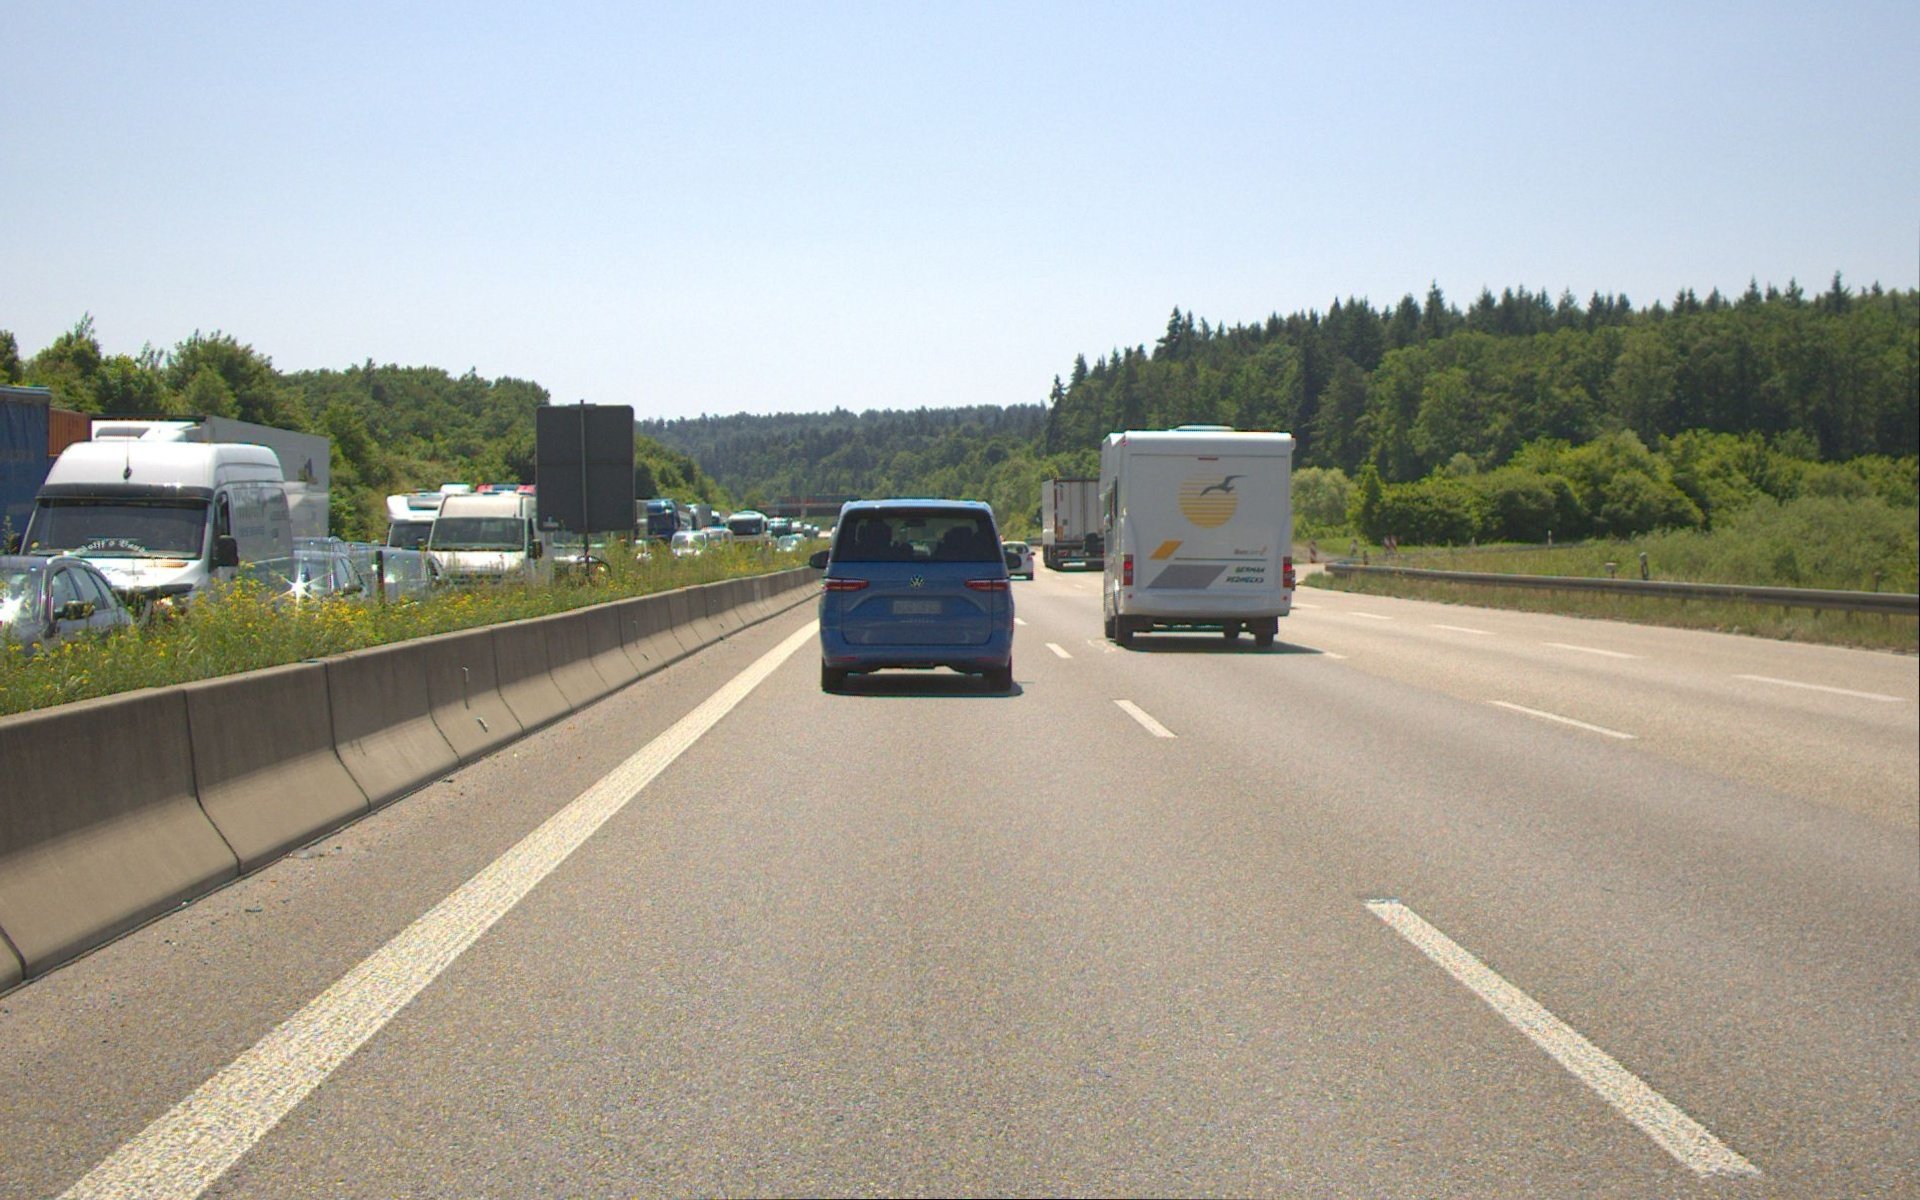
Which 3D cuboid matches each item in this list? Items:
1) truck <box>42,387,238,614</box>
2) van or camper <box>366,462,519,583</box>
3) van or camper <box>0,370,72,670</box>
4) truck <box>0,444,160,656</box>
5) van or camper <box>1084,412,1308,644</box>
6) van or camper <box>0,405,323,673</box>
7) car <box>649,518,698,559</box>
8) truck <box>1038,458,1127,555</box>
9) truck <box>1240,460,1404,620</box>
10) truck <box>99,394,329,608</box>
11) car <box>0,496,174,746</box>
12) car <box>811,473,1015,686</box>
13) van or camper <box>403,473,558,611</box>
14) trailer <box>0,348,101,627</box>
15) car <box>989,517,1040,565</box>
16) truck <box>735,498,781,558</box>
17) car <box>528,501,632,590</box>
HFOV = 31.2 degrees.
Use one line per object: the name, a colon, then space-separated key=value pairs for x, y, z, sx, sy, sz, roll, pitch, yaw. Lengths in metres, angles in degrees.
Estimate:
truck: x=-16.251 y=-1.941 z=68.477 sx=2.520 sy=4.311 sz=5.666 roll=1 pitch=1 yaw=0
van or camper: x=-13.037 y=-1.933 z=87.167 sx=2.545 sy=2.927 sz=7.827 roll=0 pitch=1 yaw=1
van or camper: x=-11.937 y=-0.887 z=38.100 sx=2.312 sy=3.378 sz=7.681 roll=0 pitch=1 yaw=-1
truck: x=-12.074 y=-0.627 z=43.873 sx=2.234 sy=2.497 sz=6.863 roll=0 pitch=1 yaw=-1
van or camper: x=3.282 y=-1.139 z=49.533 sx=2.603 sy=3.068 sz=7.183 roll=1 pitch=3 yaw=-1
van or camper: x=-8.289 y=-0.622 z=35.845 sx=2.193 sy=2.532 sz=6.417 roll=0 pitch=1 yaw=-1
car: x=-13.923 y=-3.000 z=167.313 sx=2.023 sy=1.951 sz=5.095 roll=0 pitch=1 yaw=-1
truck: x=5.394 y=-4.123 z=153.158 sx=3.487 sy=4.156 sz=8.642 roll=1 pitch=1 yaw=-1
truck: x=8.550 y=-1.502 z=82.209 sx=2.928 sy=3.562 sz=8.527 roll=-1 pitch=2 yaw=0
truck: x=-16.309 y=-2.097 z=76.145 sx=2.520 sy=4.311 sz=12.423 roll=1 pitch=1 yaw=-1
car: x=-7.449 y=0.101 z=26.211 sx=1.811 sy=1.724 sz=4.935 roll=1 pitch=1 yaw=-1
car: x=-0.477 y=-0.244 z=34.774 sx=1.909 sy=2.007 sz=4.000 roll=-1 pitch=1 yaw=-1
van or camper: x=-9.060 y=-1.097 z=65.410 sx=2.193 sy=2.497 sz=6.059 roll=0 pitch=1 yaw=-1
trailer: x=-16.126 y=-1.752 z=53.632 sx=2.611 sy=4.295 sz=12.002 roll=1 pitch=1 yaw=-1
car: x=2.074 y=-2.239 z=131.120 sx=1.818 sy=1.788 sz=3.895 roll=1 pitch=1 yaw=-1
truck: x=-13.454 y=-4.787 z=229.419 sx=2.618 sy=3.876 sz=7.403 roll=-1 pitch=1 yaw=0
car: x=-8.710 y=-1.261 z=79.001 sx=1.993 sy=2.007 sz=4.000 roll=0 pitch=1 yaw=-1
